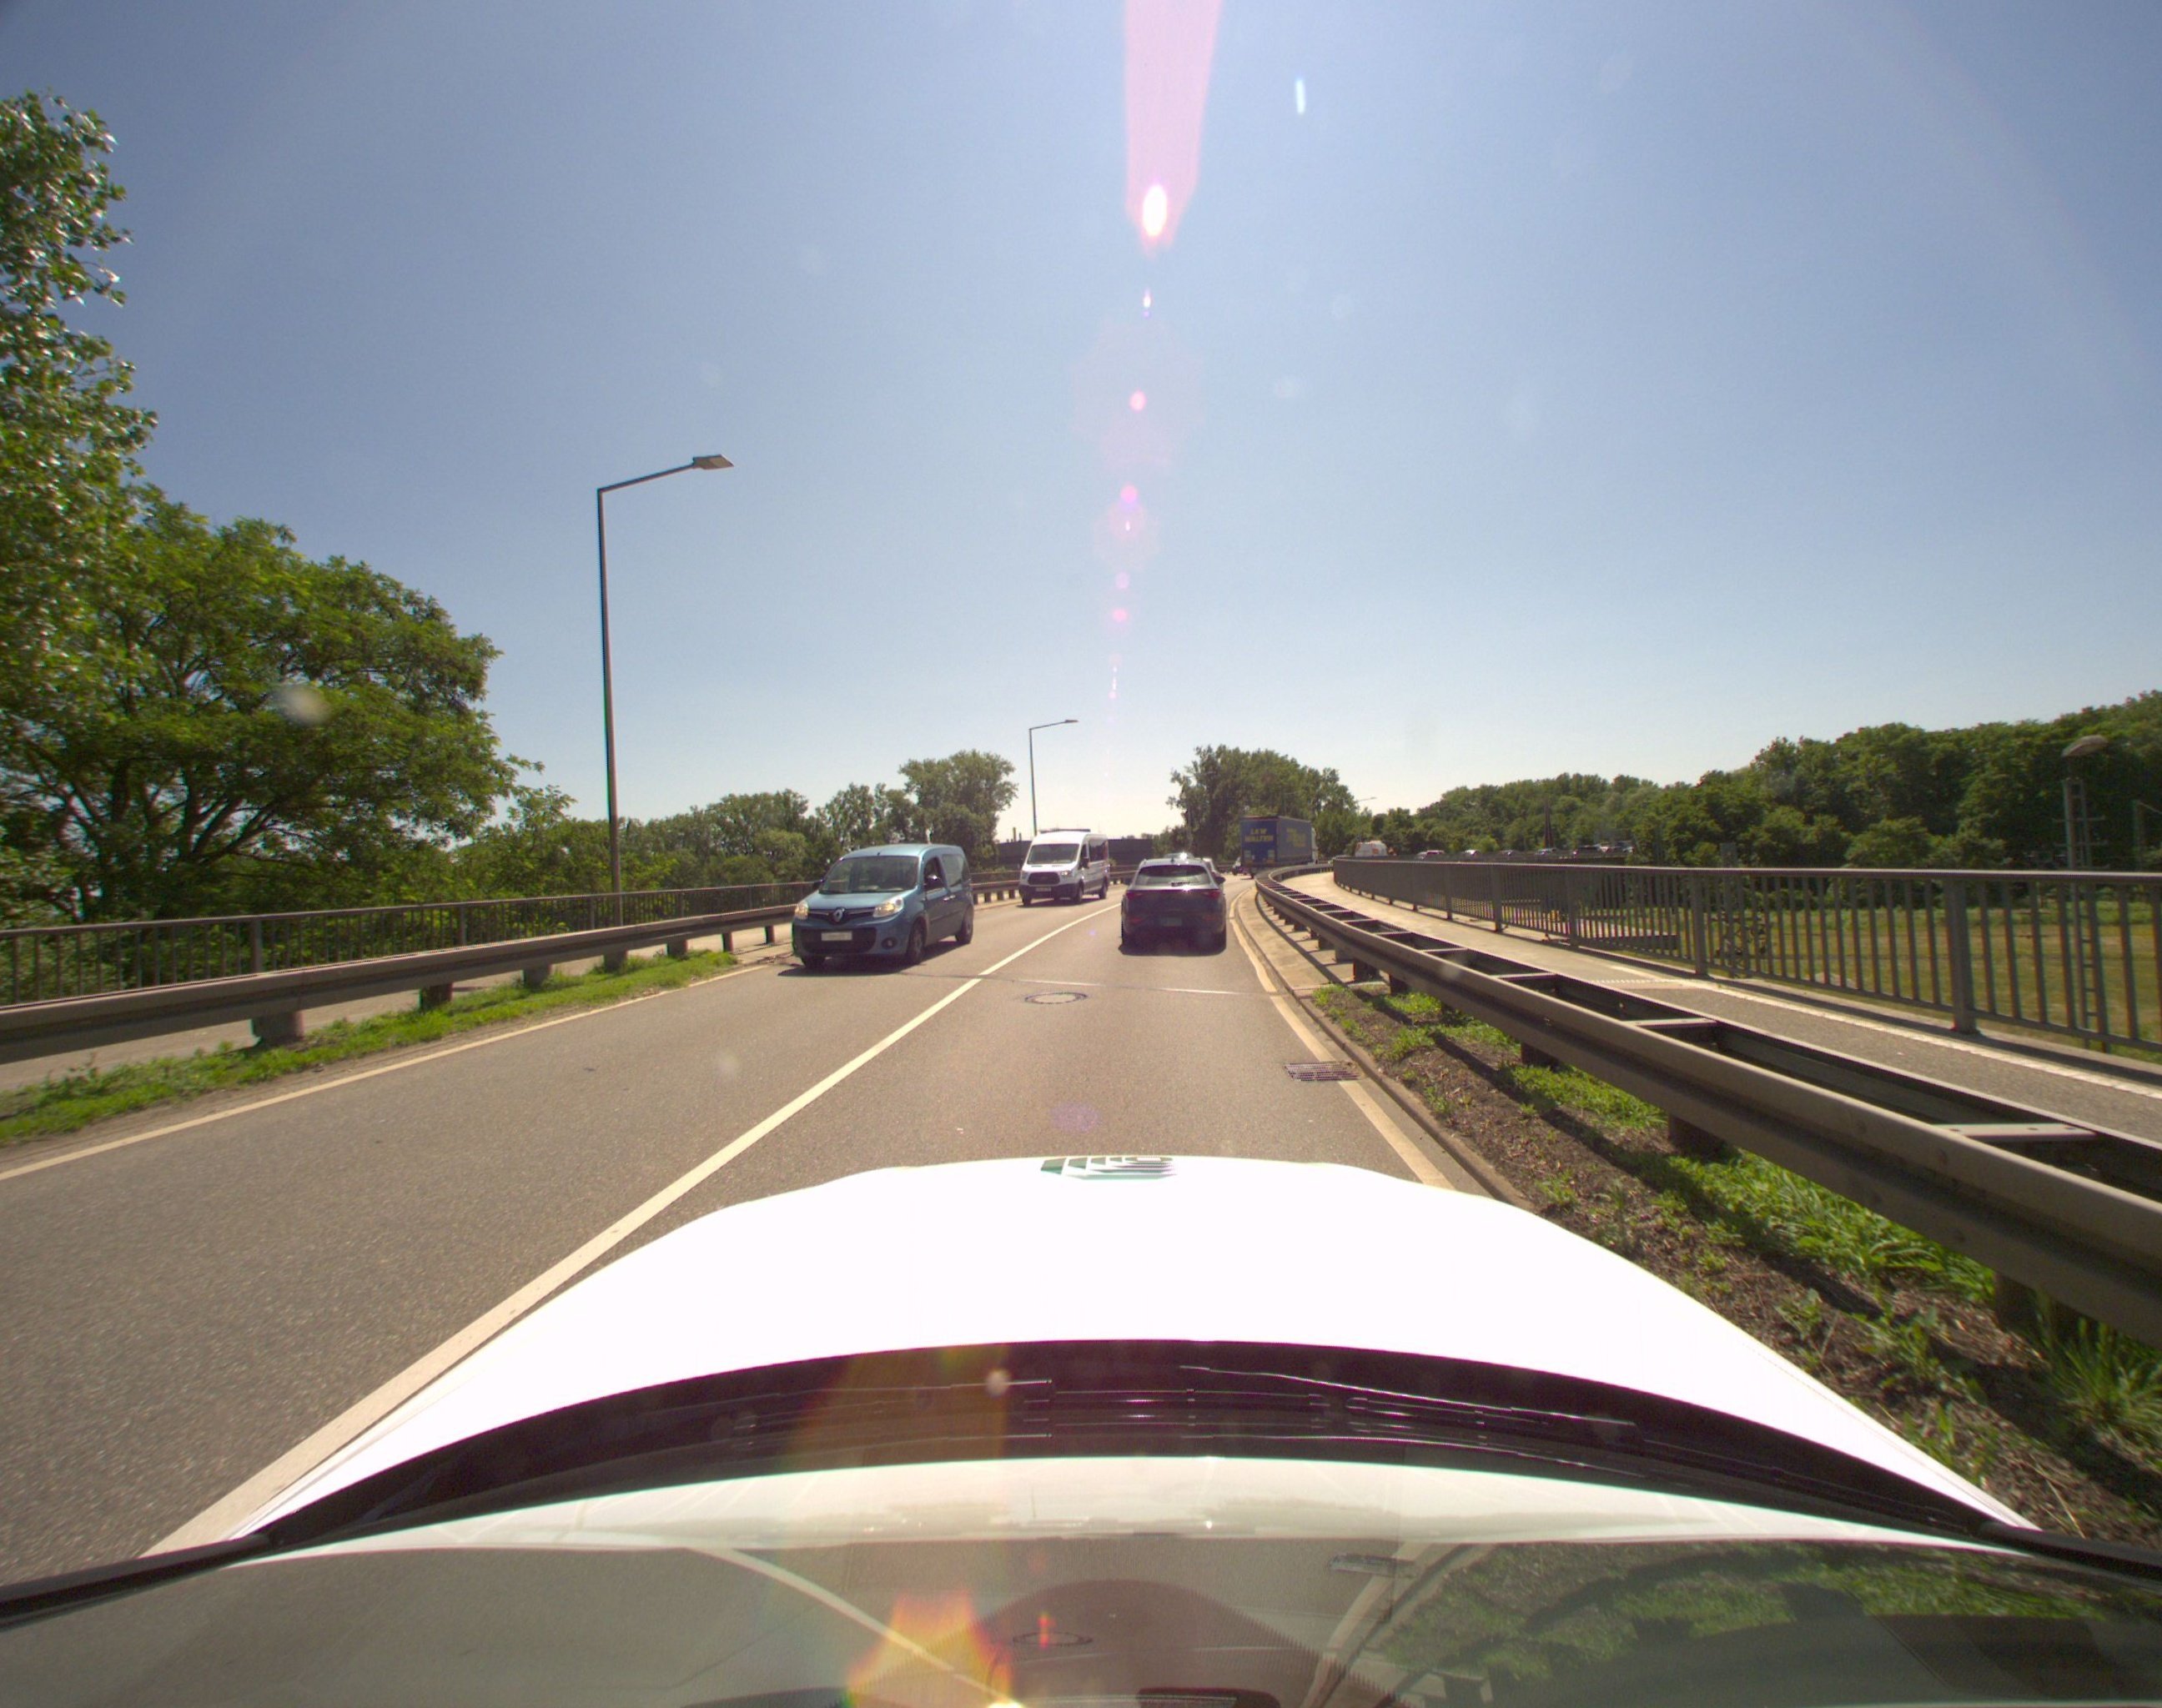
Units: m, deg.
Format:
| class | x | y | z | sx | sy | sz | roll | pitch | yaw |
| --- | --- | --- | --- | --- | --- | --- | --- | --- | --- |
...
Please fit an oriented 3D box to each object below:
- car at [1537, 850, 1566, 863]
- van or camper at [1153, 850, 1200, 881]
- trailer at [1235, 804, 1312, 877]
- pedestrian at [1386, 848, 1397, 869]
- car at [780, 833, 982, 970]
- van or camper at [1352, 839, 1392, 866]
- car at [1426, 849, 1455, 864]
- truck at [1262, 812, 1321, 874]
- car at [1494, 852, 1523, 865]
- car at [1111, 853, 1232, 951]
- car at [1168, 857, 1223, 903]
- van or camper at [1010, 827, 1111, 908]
| class | x | y | z | sx | sy | sz | roll | pitch | yaw |
| --- | --- | --- | --- | --- | --- | --- | --- | --- | --- |
| car | 68.793 | 0.377 | 119.064 | 4.012 | 1.850 | 1.876 | 0 | -1 | -31 |
| van or camper | 5.989 | 0.698 | 50.514 | 1.978 | 1.761 | 4.718 | -3 | -1 | 17 |
| trailer | 14.051 | -0.815 | 58.383 | 3.106 | 4.614 | 13.020 | -1 | -1 | 24 |
| pedestrian | 28.543 | 0.426 | 74.851 | 0.729 | 1.967 | 0.739 | -1 | -1 | 34 |
| car | -3.020 | 0.668 | 13.294 | 1.747 | 1.855 | 4.283 | -1 | -1 | 7 |
| van or camper | 30.684 | -0.173 | 85.829 | 2.181 | 2.711 | 5.963 | -2 | 0 | 38 |
| car | 43.687 | 0.311 | 98.928 | 4.023 | 1.850 | 1.871 | 0 | -1 | -44 |
| truck | 16.759 | -0.736 | 64.363 | 3.141 | 4.585 | 7.438 | -1 | -1 | 25 |
| car | 59.377 | 0.632 | 113.040 | 4.016 | 1.850 | 1.874 | 0 | -1 | -34 |
| car | 1.616 | 0.751 | 14.500 | 1.836 | 1.499 | 3.765 | -1 | 0 | 7 |
| car | 4.033 | 0.858 | 28.254 | 1.582 | 1.461 | 3.557 | 0 | -1 | 13 |
| van or camper | -0.545 | 0.389 | 28.357 | 2.034 | 2.537 | 5.905 | -1 | 1 | 13 |
